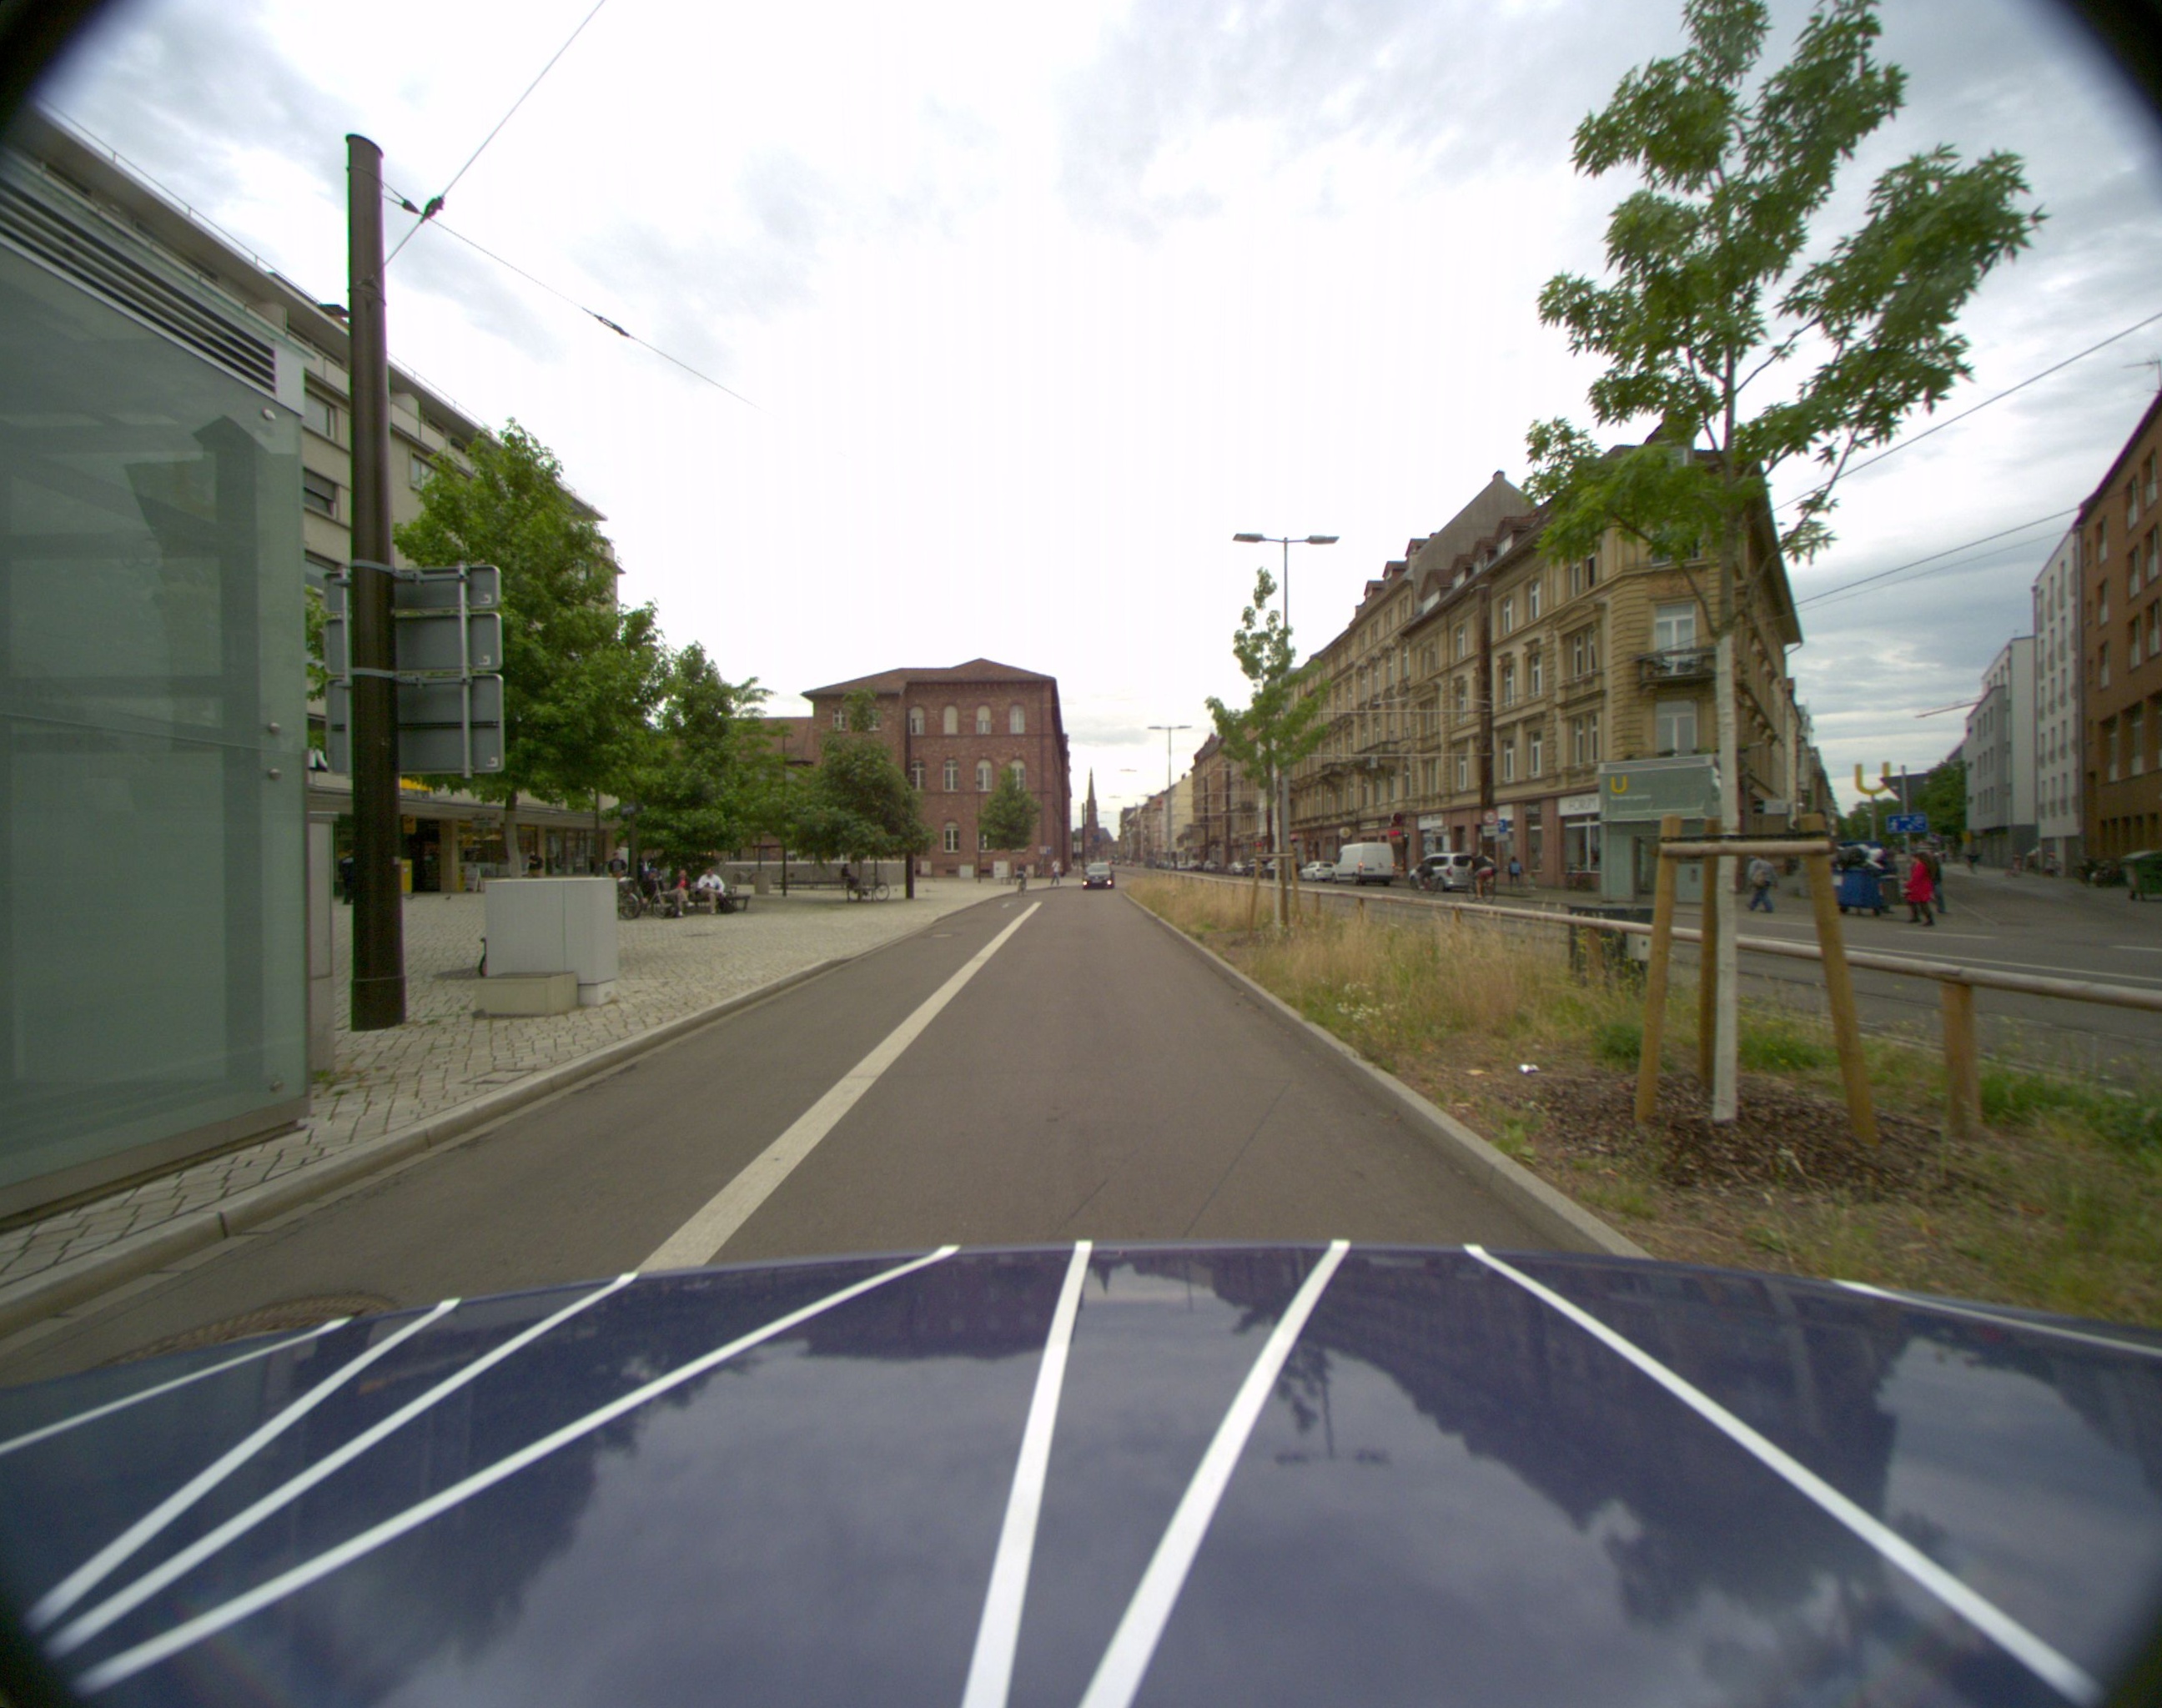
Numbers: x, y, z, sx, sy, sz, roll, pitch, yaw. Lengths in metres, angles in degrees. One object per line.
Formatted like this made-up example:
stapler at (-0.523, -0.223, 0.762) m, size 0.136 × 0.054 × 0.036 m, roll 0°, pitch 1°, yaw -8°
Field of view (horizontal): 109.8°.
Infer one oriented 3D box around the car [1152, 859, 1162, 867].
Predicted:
car at (17.313, 1.979, 172.841) m, size 1.928 × 1.722 × 3.826 m, roll -2°, pitch 0°, yaw 0°

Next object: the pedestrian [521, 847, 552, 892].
pedestrian at (-23.531, 0.671, 32.864) m, size 0.773 × 1.890 × 1.065 m, roll 1°, pitch 0°, yaw -18°

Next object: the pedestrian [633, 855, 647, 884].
pedestrian at (-23.818, 0.840, 41.012) m, size 0.593 × 1.576 × 0.642 m, roll 1°, pitch -1°, yaw -33°

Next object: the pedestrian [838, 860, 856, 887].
pedestrian at (-13.039, 1.086, 42.280) m, size 0.781 × 1.447 × 0.766 m, roll 2°, pitch 0°, yaw -30°

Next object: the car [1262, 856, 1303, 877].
car at (16.644, 1.011, 62.974) m, size 1.924 × 1.679 × 5.051 m, roll 2°, pitch 0°, yaw -1°

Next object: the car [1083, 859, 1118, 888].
car at (1.045, 1.052, 42.479) m, size 1.747 × 1.538 × 3.650 m, roll -1°, pitch 0°, yaw -1°

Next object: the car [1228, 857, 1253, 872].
car at (16.750, 1.118, 80.086) m, size 1.748 × 1.479 × 3.920 m, roll 0°, pitch -1°, yaw -1°

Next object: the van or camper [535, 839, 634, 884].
van or camper at (-31.887, 0.466, 49.145) m, size 1.998 × 2.703 × 6.560 m, roll -2°, pitch 0°, yaw 0°

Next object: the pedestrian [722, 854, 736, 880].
pedestrian at (-22.490, 0.850, 48.542) m, size 0.513 × 1.660 × 0.593 m, roll 0°, pitch -1°, yaw 21°

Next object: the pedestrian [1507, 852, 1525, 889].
pedestrian at (18.949, 0.711, 33.105) m, size 0.554 × 1.547 × 0.658 m, roll -2°, pitch 0°, yaw 17°

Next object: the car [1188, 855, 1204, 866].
car at (17.089, 0.964, 113.191) m, size 1.748 × 1.662 × 4.046 m, roll 0°, pitch -1°, yaw 0°

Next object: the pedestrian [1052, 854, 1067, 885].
pedestrian at (-1.302, 0.929, 46.678) m, size 0.872 × 1.890 × 0.773 m, roll 1°, pitch 0°, yaw -1°

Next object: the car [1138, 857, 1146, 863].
car at (16.413, 1.701, 203.287) m, size 1.867 × 1.553 × 4.000 m, roll 1°, pitch 0°, yaw 0°

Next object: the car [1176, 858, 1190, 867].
car at (17.076, 1.441, 127.404) m, size 1.748 × 1.456 × 4.046 m, roll 0°, pitch -1°, yaw 0°

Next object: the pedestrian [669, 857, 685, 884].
pedestrian at (-24.519, 1.000, 46.095) m, size 0.642 × 1.660 × 0.592 m, roll 0°, pitch -1°, yaw 16°

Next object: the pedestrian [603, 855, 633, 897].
pedestrian at (-19.748, 0.925, 32.436) m, size 0.773 × 1.762 × 1.066 m, roll 1°, pitch 0°, yaw -11°

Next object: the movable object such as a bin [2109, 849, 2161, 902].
movable object such as a bin at (30.984, 0.615, 22.159) m, size 0.944 × 1.492 × 1.241 m, roll -1°, pitch 0°, yaw 41°

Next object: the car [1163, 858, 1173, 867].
car at (17.293, 1.687, 151.703) m, size 1.707 × 1.746 × 3.920 m, roll 0°, pitch 0°, yaw 2°

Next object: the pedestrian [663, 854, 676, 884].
pedestrian at (-22.493, 0.823, 41.534) m, size 0.593 × 1.576 × 0.642 m, roll 1°, pitch -1°, yaw -33°

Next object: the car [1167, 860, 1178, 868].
car at (17.700, 1.963, 147.125) m, size 1.651 × 1.372 × 3.436 m, roll 0°, pitch -1°, yaw -3°

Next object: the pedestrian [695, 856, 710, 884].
pedestrian at (-22.812, 0.976, 45.828) m, size 0.513 × 1.660 × 0.593 m, roll 0°, pitch -1°, yaw 21°

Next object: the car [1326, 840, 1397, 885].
car at (16.736, 0.501, 45.705) m, size 2.058 × 2.472 × 5.665 m, roll 2°, pitch 0°, yaw -1°

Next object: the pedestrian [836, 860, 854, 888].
pedestrian at (-12.871, 1.083, 41.443) m, size 0.781 × 1.447 × 0.766 m, roll 2°, pitch 0°, yaw -30°

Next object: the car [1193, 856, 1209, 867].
car at (17.037, 1.110, 108.291) m, size 1.748 × 1.479 × 3.921 m, roll 0°, pitch -1°, yaw 1°

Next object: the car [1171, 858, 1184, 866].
car at (16.740, 1.405, 131.974) m, size 1.829 × 1.512 × 4.546 m, roll 0°, pitch -1°, yaw 0°

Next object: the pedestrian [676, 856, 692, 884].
pedestrian at (-24.542, 0.992, 46.968) m, size 0.642 × 1.660 × 0.593 m, roll 0°, pitch -1°, yaw 21°

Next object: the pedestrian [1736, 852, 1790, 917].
pedestrian at (18.212, 0.794, 20.296) m, size 0.823 × 1.677 × 0.723 m, roll 0°, pitch 2°, yaw 17°

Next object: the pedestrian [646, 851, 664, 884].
pedestrian at (-23.173, 0.743, 41.333) m, size 0.590 × 1.757 × 0.645 m, roll -1°, pitch -1°, yaw 36°

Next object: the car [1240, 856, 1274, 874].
car at (16.604, 1.030, 71.910) m, size 1.818 × 1.679 × 5.030 m, roll 0°, pitch -1°, yaw -3°

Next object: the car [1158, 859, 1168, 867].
car at (17.530, 1.949, 161.722) m, size 1.704 × 1.662 × 4.181 m, roll -2°, pitch 0°, yaw 1°

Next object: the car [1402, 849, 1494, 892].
car at (16.825, 0.716, 35.107) m, size 1.908 × 1.853 × 4.520 m, roll 1°, pitch 0°, yaw -1°

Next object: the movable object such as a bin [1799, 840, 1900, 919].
movable object such as a bin at (20.087, 0.630, 19.914) m, size 1.033 × 1.970 × 1.617 m, roll 0°, pitch 2°, yaw 7°

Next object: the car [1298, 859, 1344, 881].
car at (16.830, 1.081, 53.524) m, size 1.775 × 1.414 × 4.164 m, roll 2°, pitch 0°, yaw -1°

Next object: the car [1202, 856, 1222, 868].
car at (16.842, 1.079, 97.972) m, size 1.748 × 1.524 × 4.225 m, roll 0°, pitch -1°, yaw 0°
